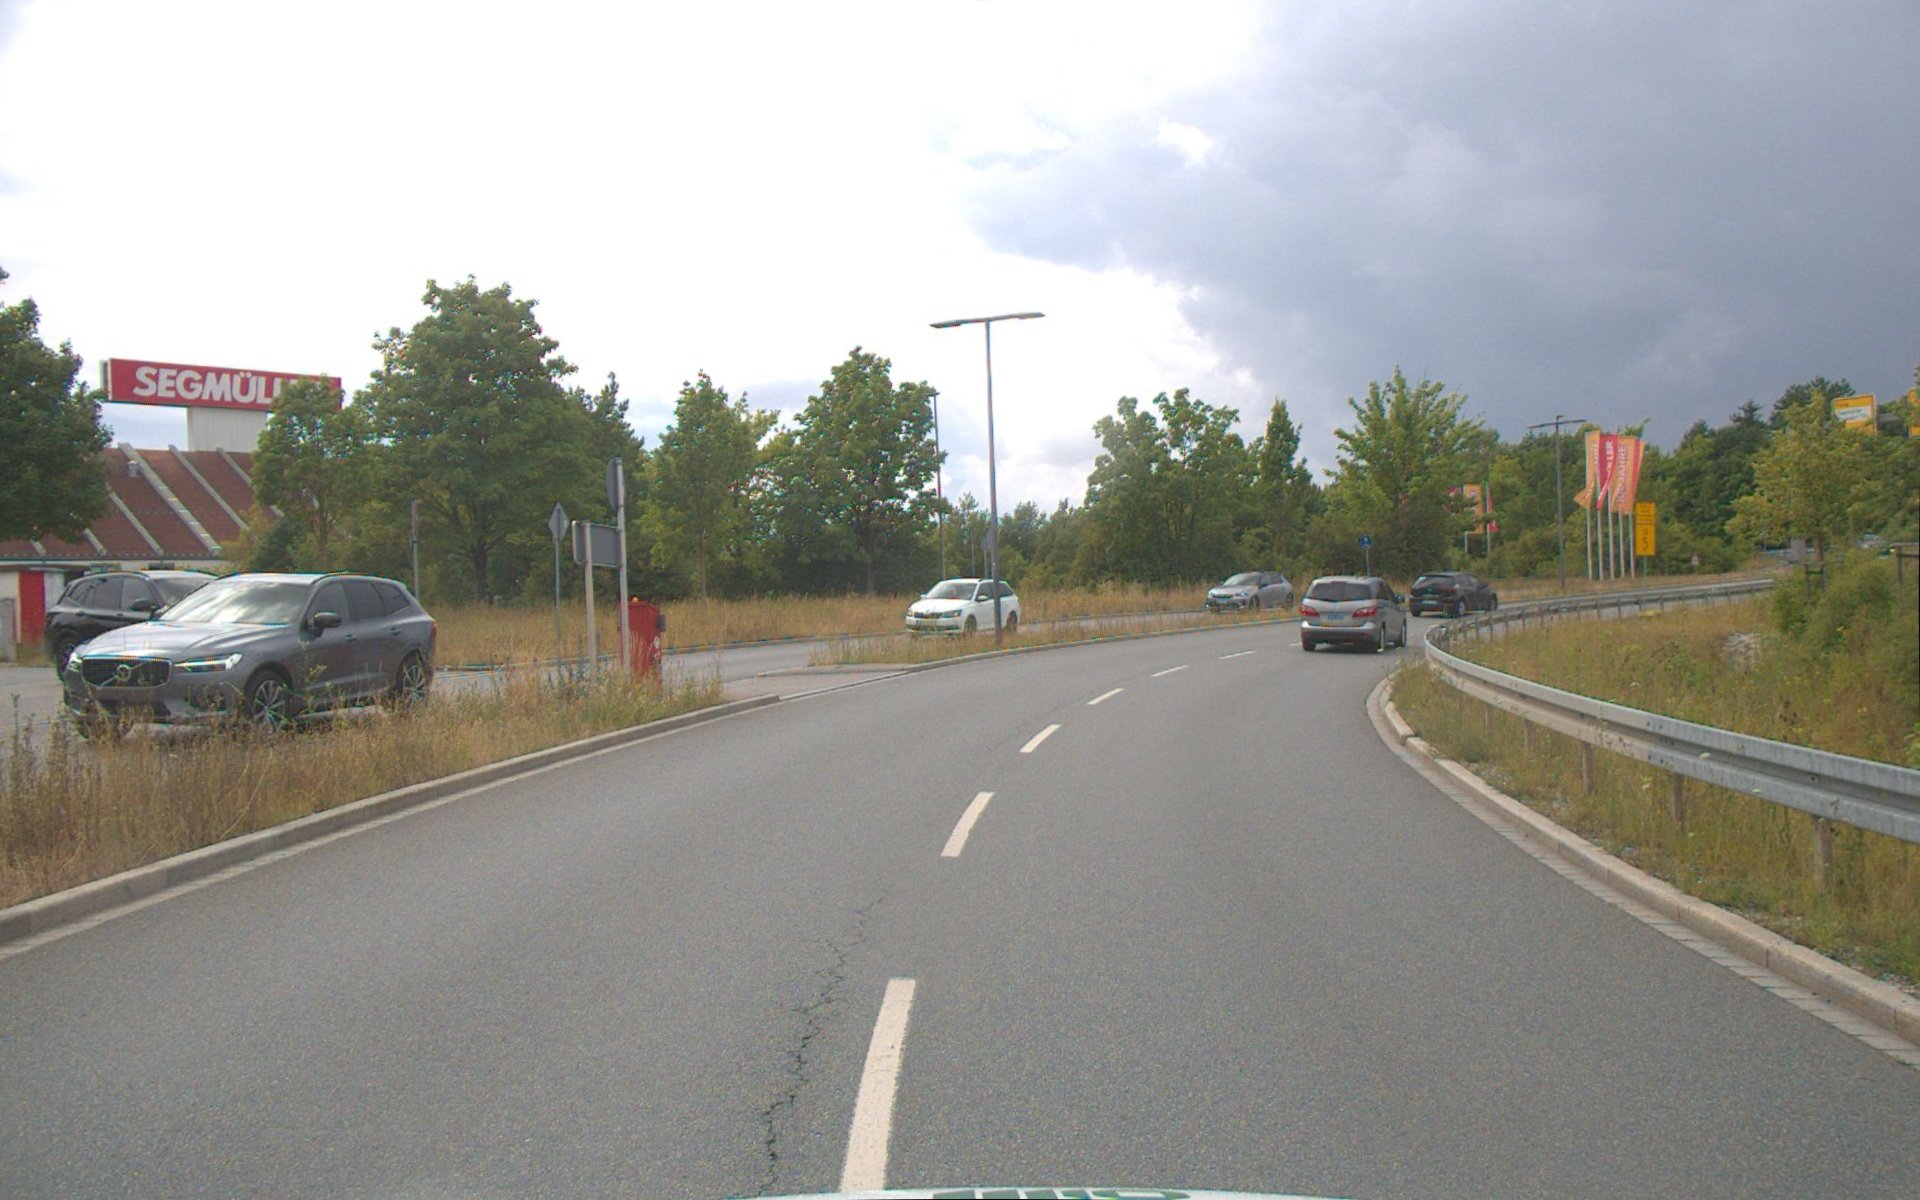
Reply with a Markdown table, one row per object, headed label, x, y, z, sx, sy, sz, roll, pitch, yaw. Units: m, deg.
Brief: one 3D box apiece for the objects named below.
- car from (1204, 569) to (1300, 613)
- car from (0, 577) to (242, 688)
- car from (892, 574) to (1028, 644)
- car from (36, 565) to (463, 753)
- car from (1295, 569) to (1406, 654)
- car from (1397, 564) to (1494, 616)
| label | x | y | z | sx | sy | sz | roll | pitch | yaw |
| --- | --- | --- | --- | --- | --- | --- | --- | --- | --- |
| car | 10.285 | -0.319 | 58.103 | 1.437 | 1.512 | 4.072 | -1 | 0 | 41 |
| car | -13.219 | 0.476 | 25.456 | 4.162 | 1.577 | 1.870 | -1 | 0 | 30 |
| car | 0.067 | 0.207 | 41.784 | 1.682 | 1.663 | 4.262 | 0 | 0 | 27 |
| car | -7.156 | 0.517 | 17.309 | 1.770 | 1.658 | 4.691 | 1 | 0 | 11 |
| car | 8.682 | 0.305 | 36.574 | 1.731 | 1.645 | 3.920 | -3 | -4 | 22 |
| car | 15.915 | -0.328 | 54.082 | 1.839 | 1.633 | 3.719 | -1 | 0 | 37 |
